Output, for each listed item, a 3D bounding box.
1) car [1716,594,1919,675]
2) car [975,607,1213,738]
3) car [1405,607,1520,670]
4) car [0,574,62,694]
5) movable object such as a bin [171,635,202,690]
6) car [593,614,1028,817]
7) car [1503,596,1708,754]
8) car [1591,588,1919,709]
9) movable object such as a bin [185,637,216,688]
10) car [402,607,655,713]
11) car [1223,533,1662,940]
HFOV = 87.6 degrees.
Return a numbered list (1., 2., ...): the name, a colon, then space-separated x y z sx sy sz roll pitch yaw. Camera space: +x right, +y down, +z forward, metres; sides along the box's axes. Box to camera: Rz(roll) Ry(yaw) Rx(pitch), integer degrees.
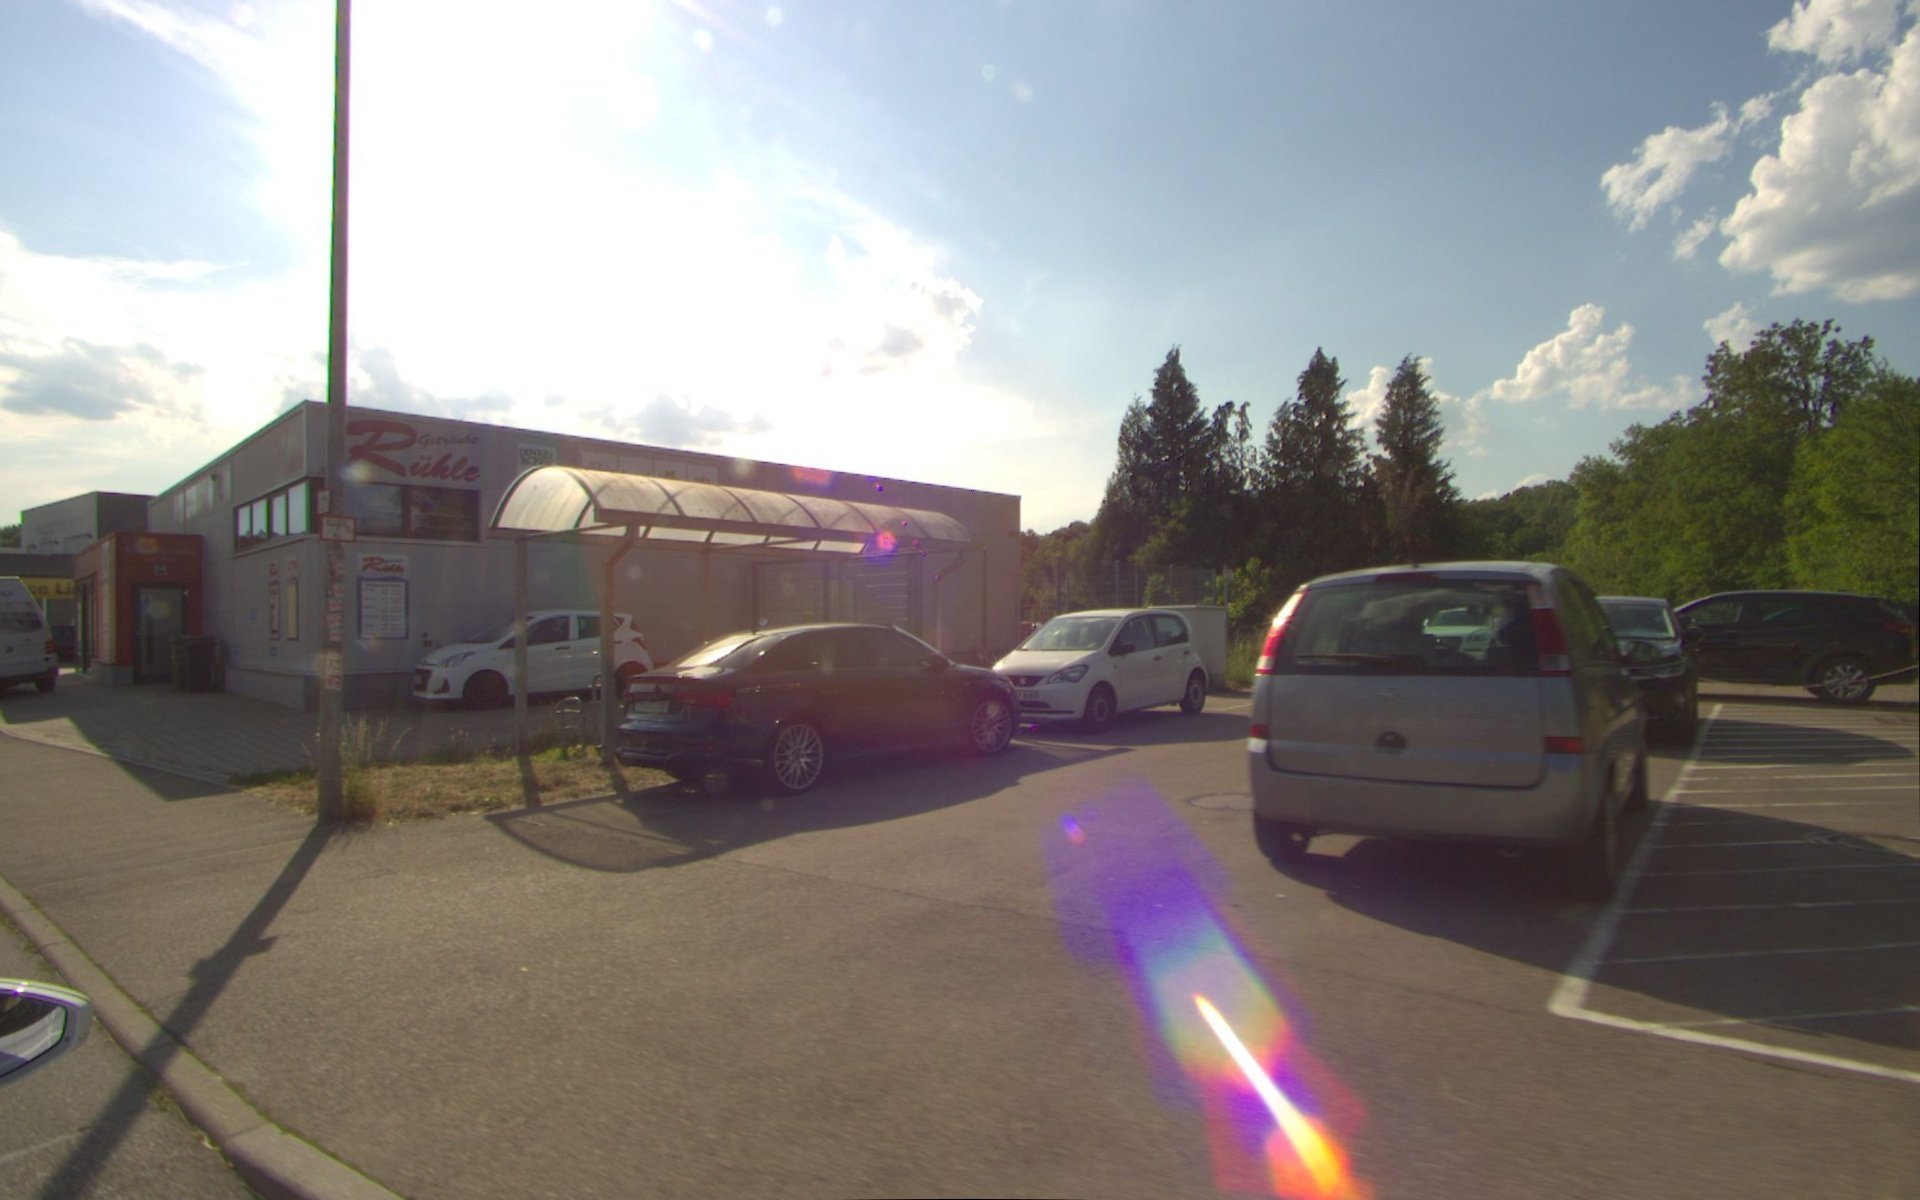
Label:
1. car: 17.705 0.687 20.432 3.535 1.519 1.669 -2 -1 41
2. car: 1.875 0.865 13.287 1.481 1.435 3.420 -2 0 41
3. car: 13.203 0.966 26.180 1.716 1.531 4.155 -2 -2 41
4. car: -21.336 0.729 21.483 5.106 2.406 1.832 -1 0 33
5. movable object such as a bin: -15.406 1.233 19.941 0.485 1.056 0.426 0 0 44
6. car: -1.215 0.914 9.616 1.607 1.435 4.044 -2 0 41
7. car: 7.435 0.743 11.377 1.661 1.467 3.926 -2 -2 37
8. car: 12.225 0.726 15.677 3.899 1.674 1.672 -1 -1 35
9. movable object such as a bin: -14.816 1.215 19.535 0.426 0.978 0.426 0 0 44
10. car: -7.019 0.898 16.509 3.532 1.477 1.483 -1 1 -45
11. car: 3.163 0.589 6.085 1.661 1.624 3.926 -2 -2 37
